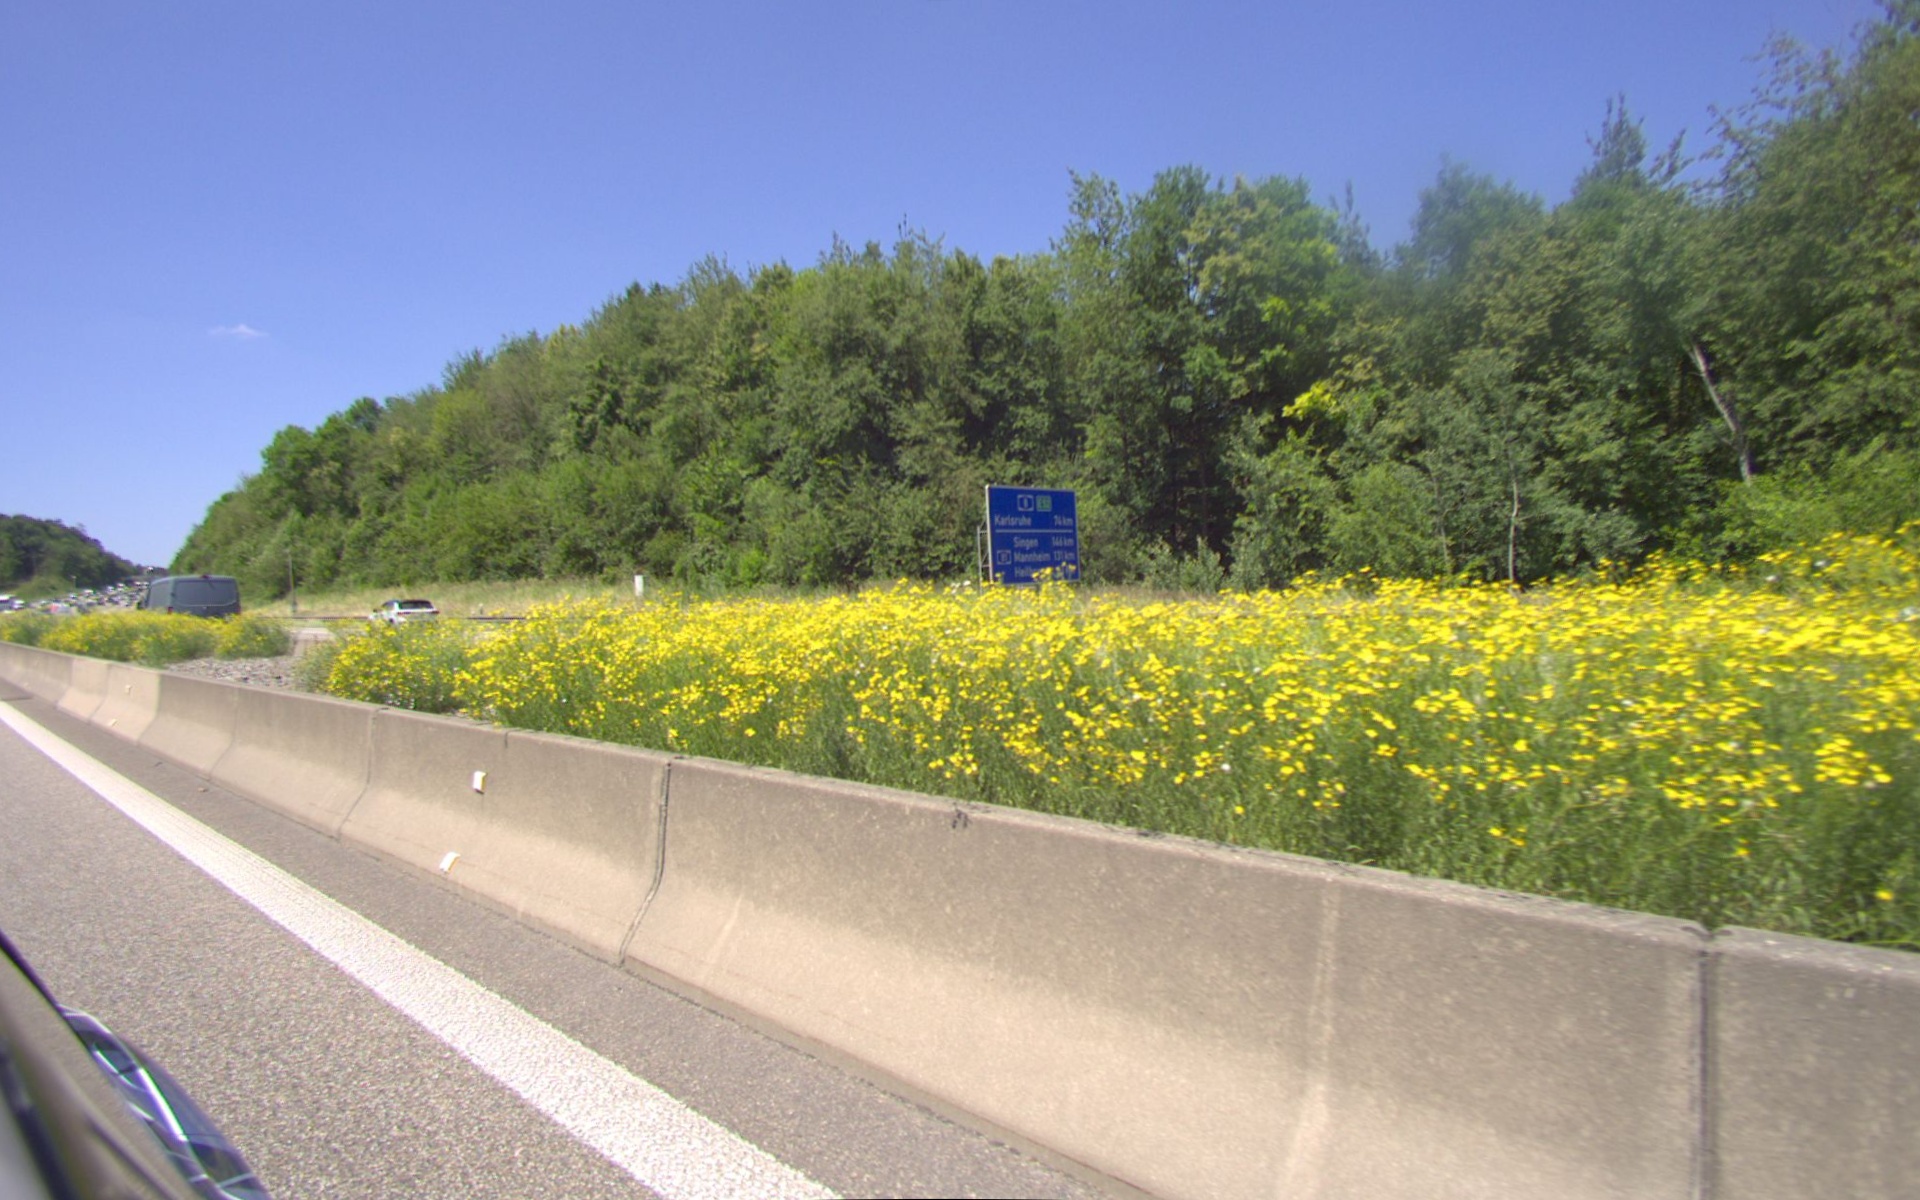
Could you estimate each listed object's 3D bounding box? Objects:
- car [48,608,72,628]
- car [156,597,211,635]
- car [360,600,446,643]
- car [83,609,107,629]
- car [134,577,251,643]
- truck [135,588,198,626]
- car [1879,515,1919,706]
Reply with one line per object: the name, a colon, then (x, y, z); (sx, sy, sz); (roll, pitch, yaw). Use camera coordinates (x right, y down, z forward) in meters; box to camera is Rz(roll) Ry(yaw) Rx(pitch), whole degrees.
car: (-113.215, 2.320, 127.326); (1.971, 2.417, 4.002); (-2, 0, -45)
car: (-55.744, 1.137, 72.609); (5.975, 2.643, 2.133); (-1, 0, 43)
car: (-22.756, 0.852, 41.270); (4.116, 1.641, 1.757); (-1, 0, 41)
car: (-111.550, 2.442, 130.537); (1.971, 2.417, 4.002); (-2, 0, -45)
car: (-25.909, 0.335, 34.059); (6.186, 2.029, 2.296); (-1, 0, 45)
truck: (-84.135, 0.772, 107.081); (3.875, 3.746, 16.758); (-1, 0, -43)
car: (11.033, 0.043, 8.864); (4.320, 1.778, 1.862); (-1, 0, 41)
